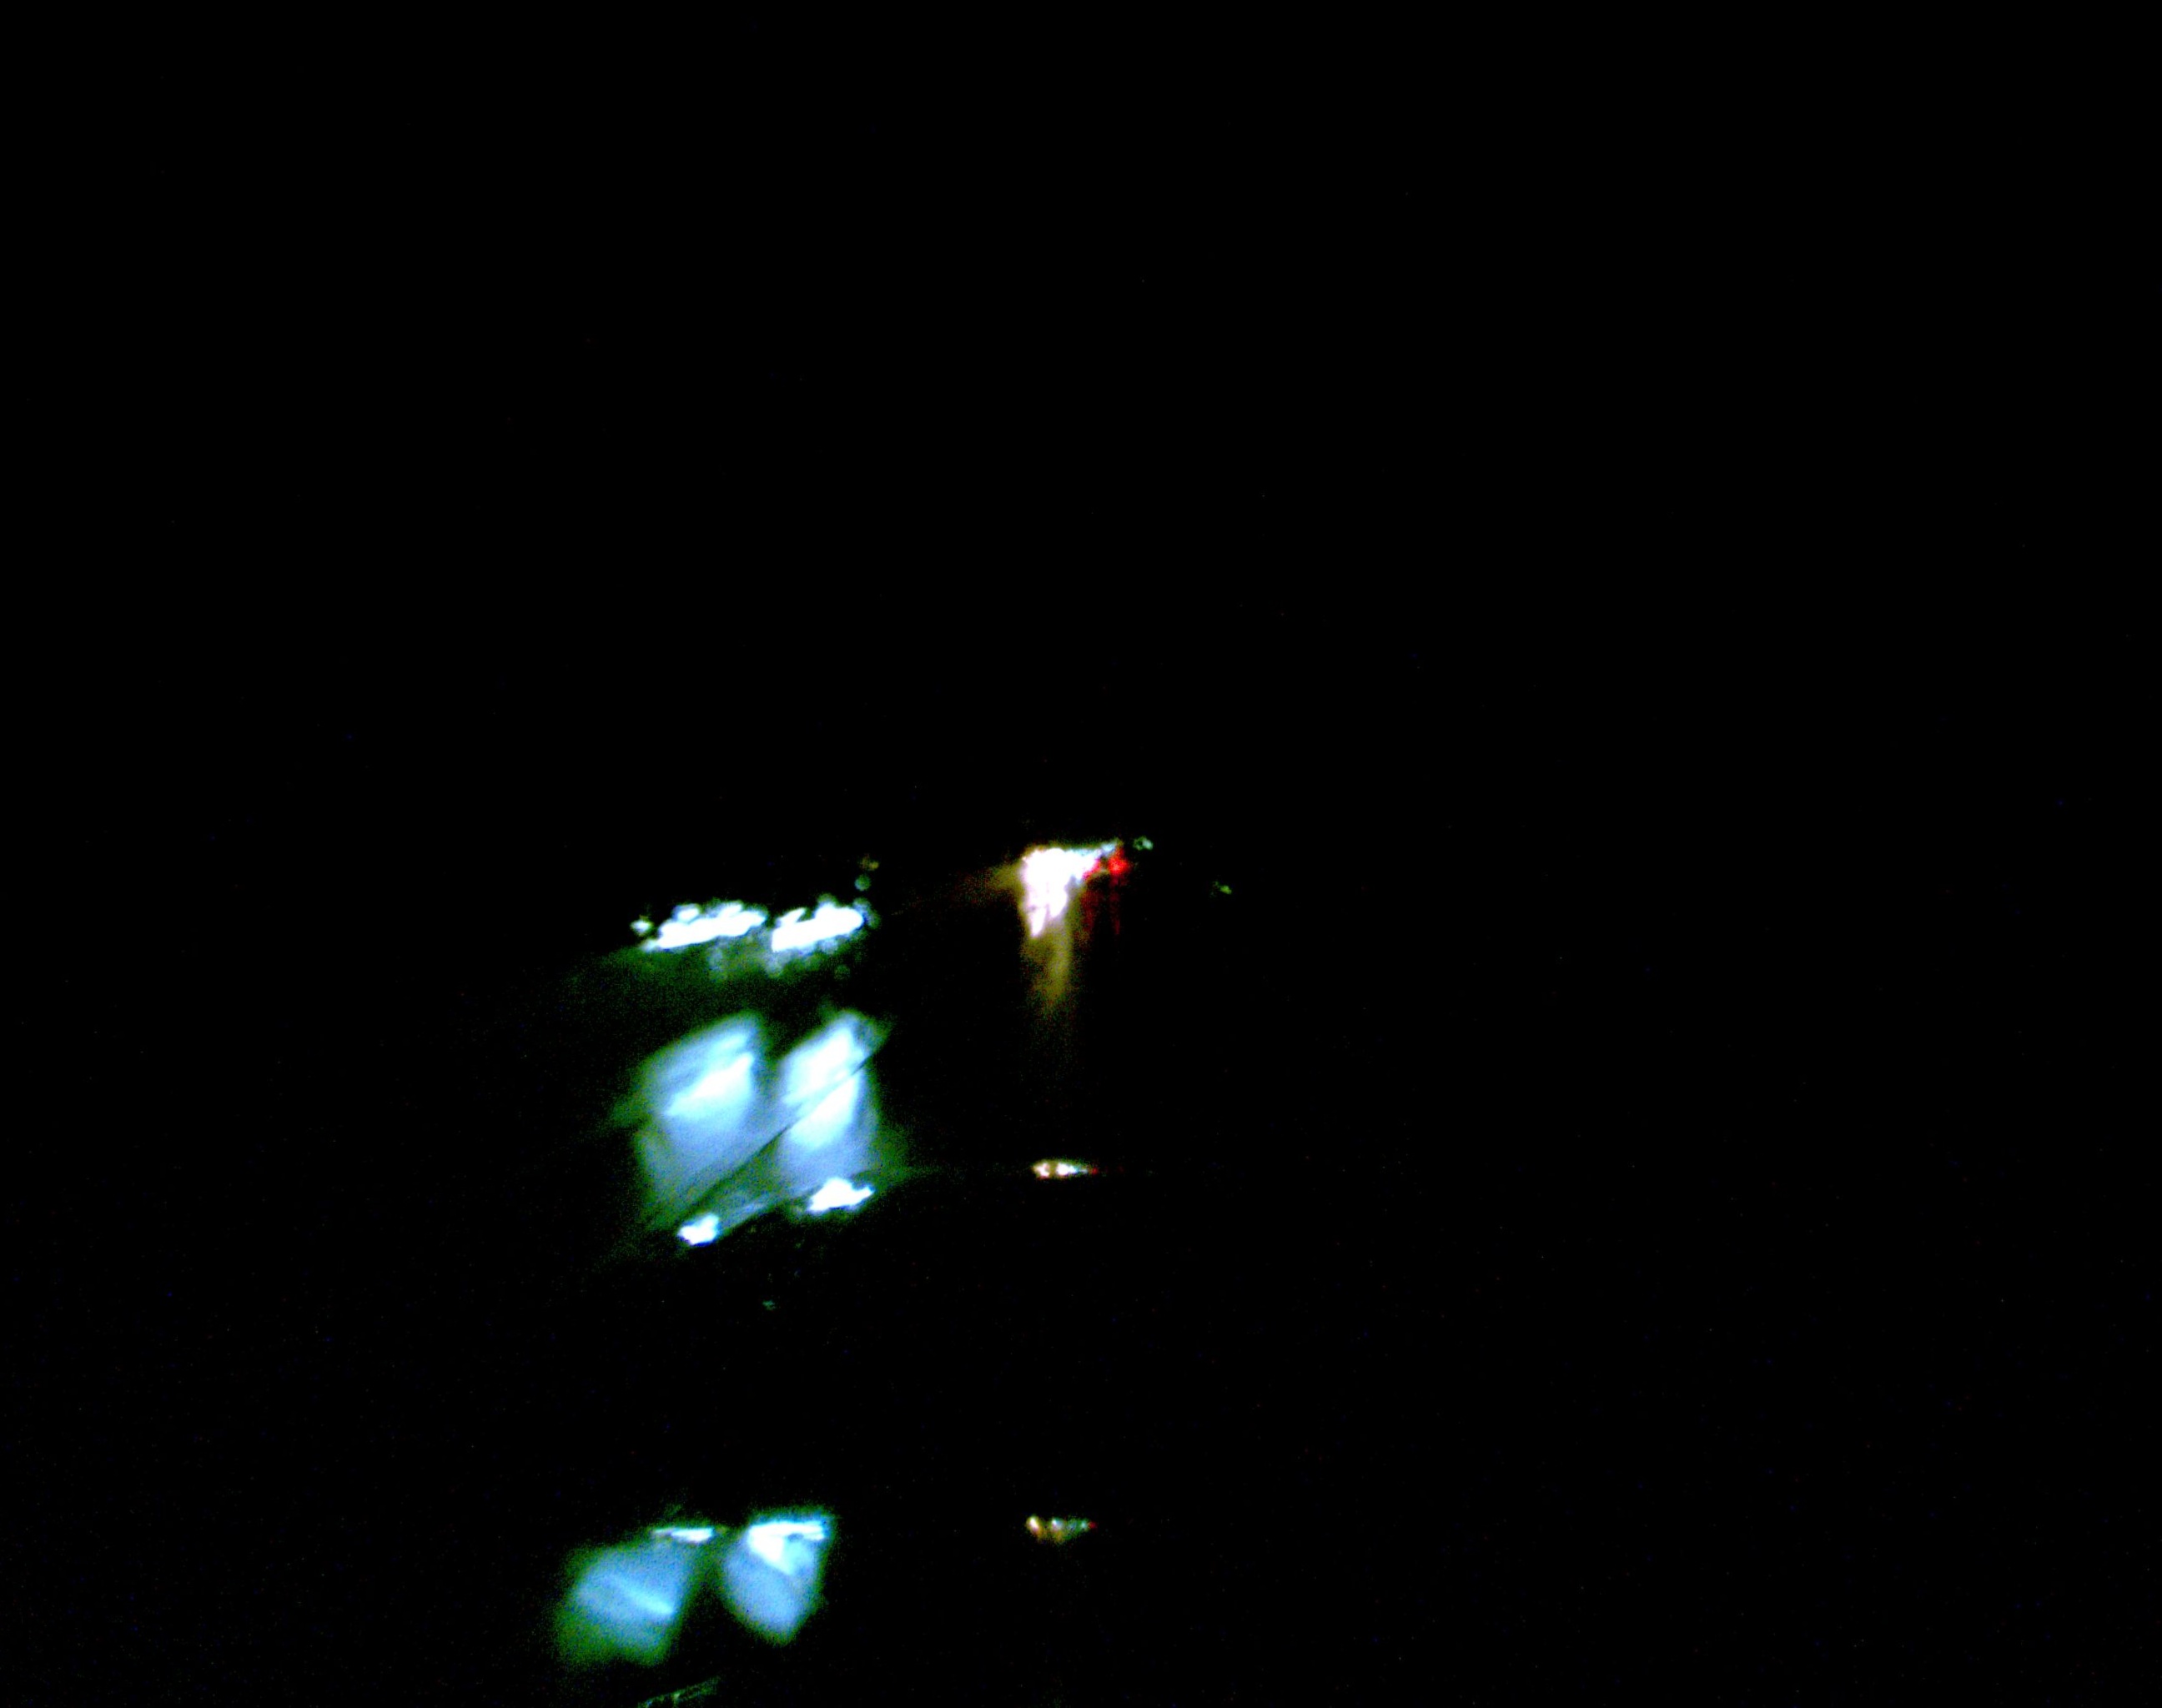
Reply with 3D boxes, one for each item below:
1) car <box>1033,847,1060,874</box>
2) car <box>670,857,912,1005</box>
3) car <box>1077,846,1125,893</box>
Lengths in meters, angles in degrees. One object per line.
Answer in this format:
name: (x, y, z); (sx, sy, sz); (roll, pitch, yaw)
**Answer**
car: (-2.666, 0.444, 62.829); (1.988, 2.013, 3.997); (-1, 0, -2)
car: (-3.388, 0.803, 10.300); (1.741, 1.426, 3.684); (-2, 0, -1)
car: (0.895, 0.649, 37.132); (2.086, 2.013, 4.000); (-1, 0, 1)
